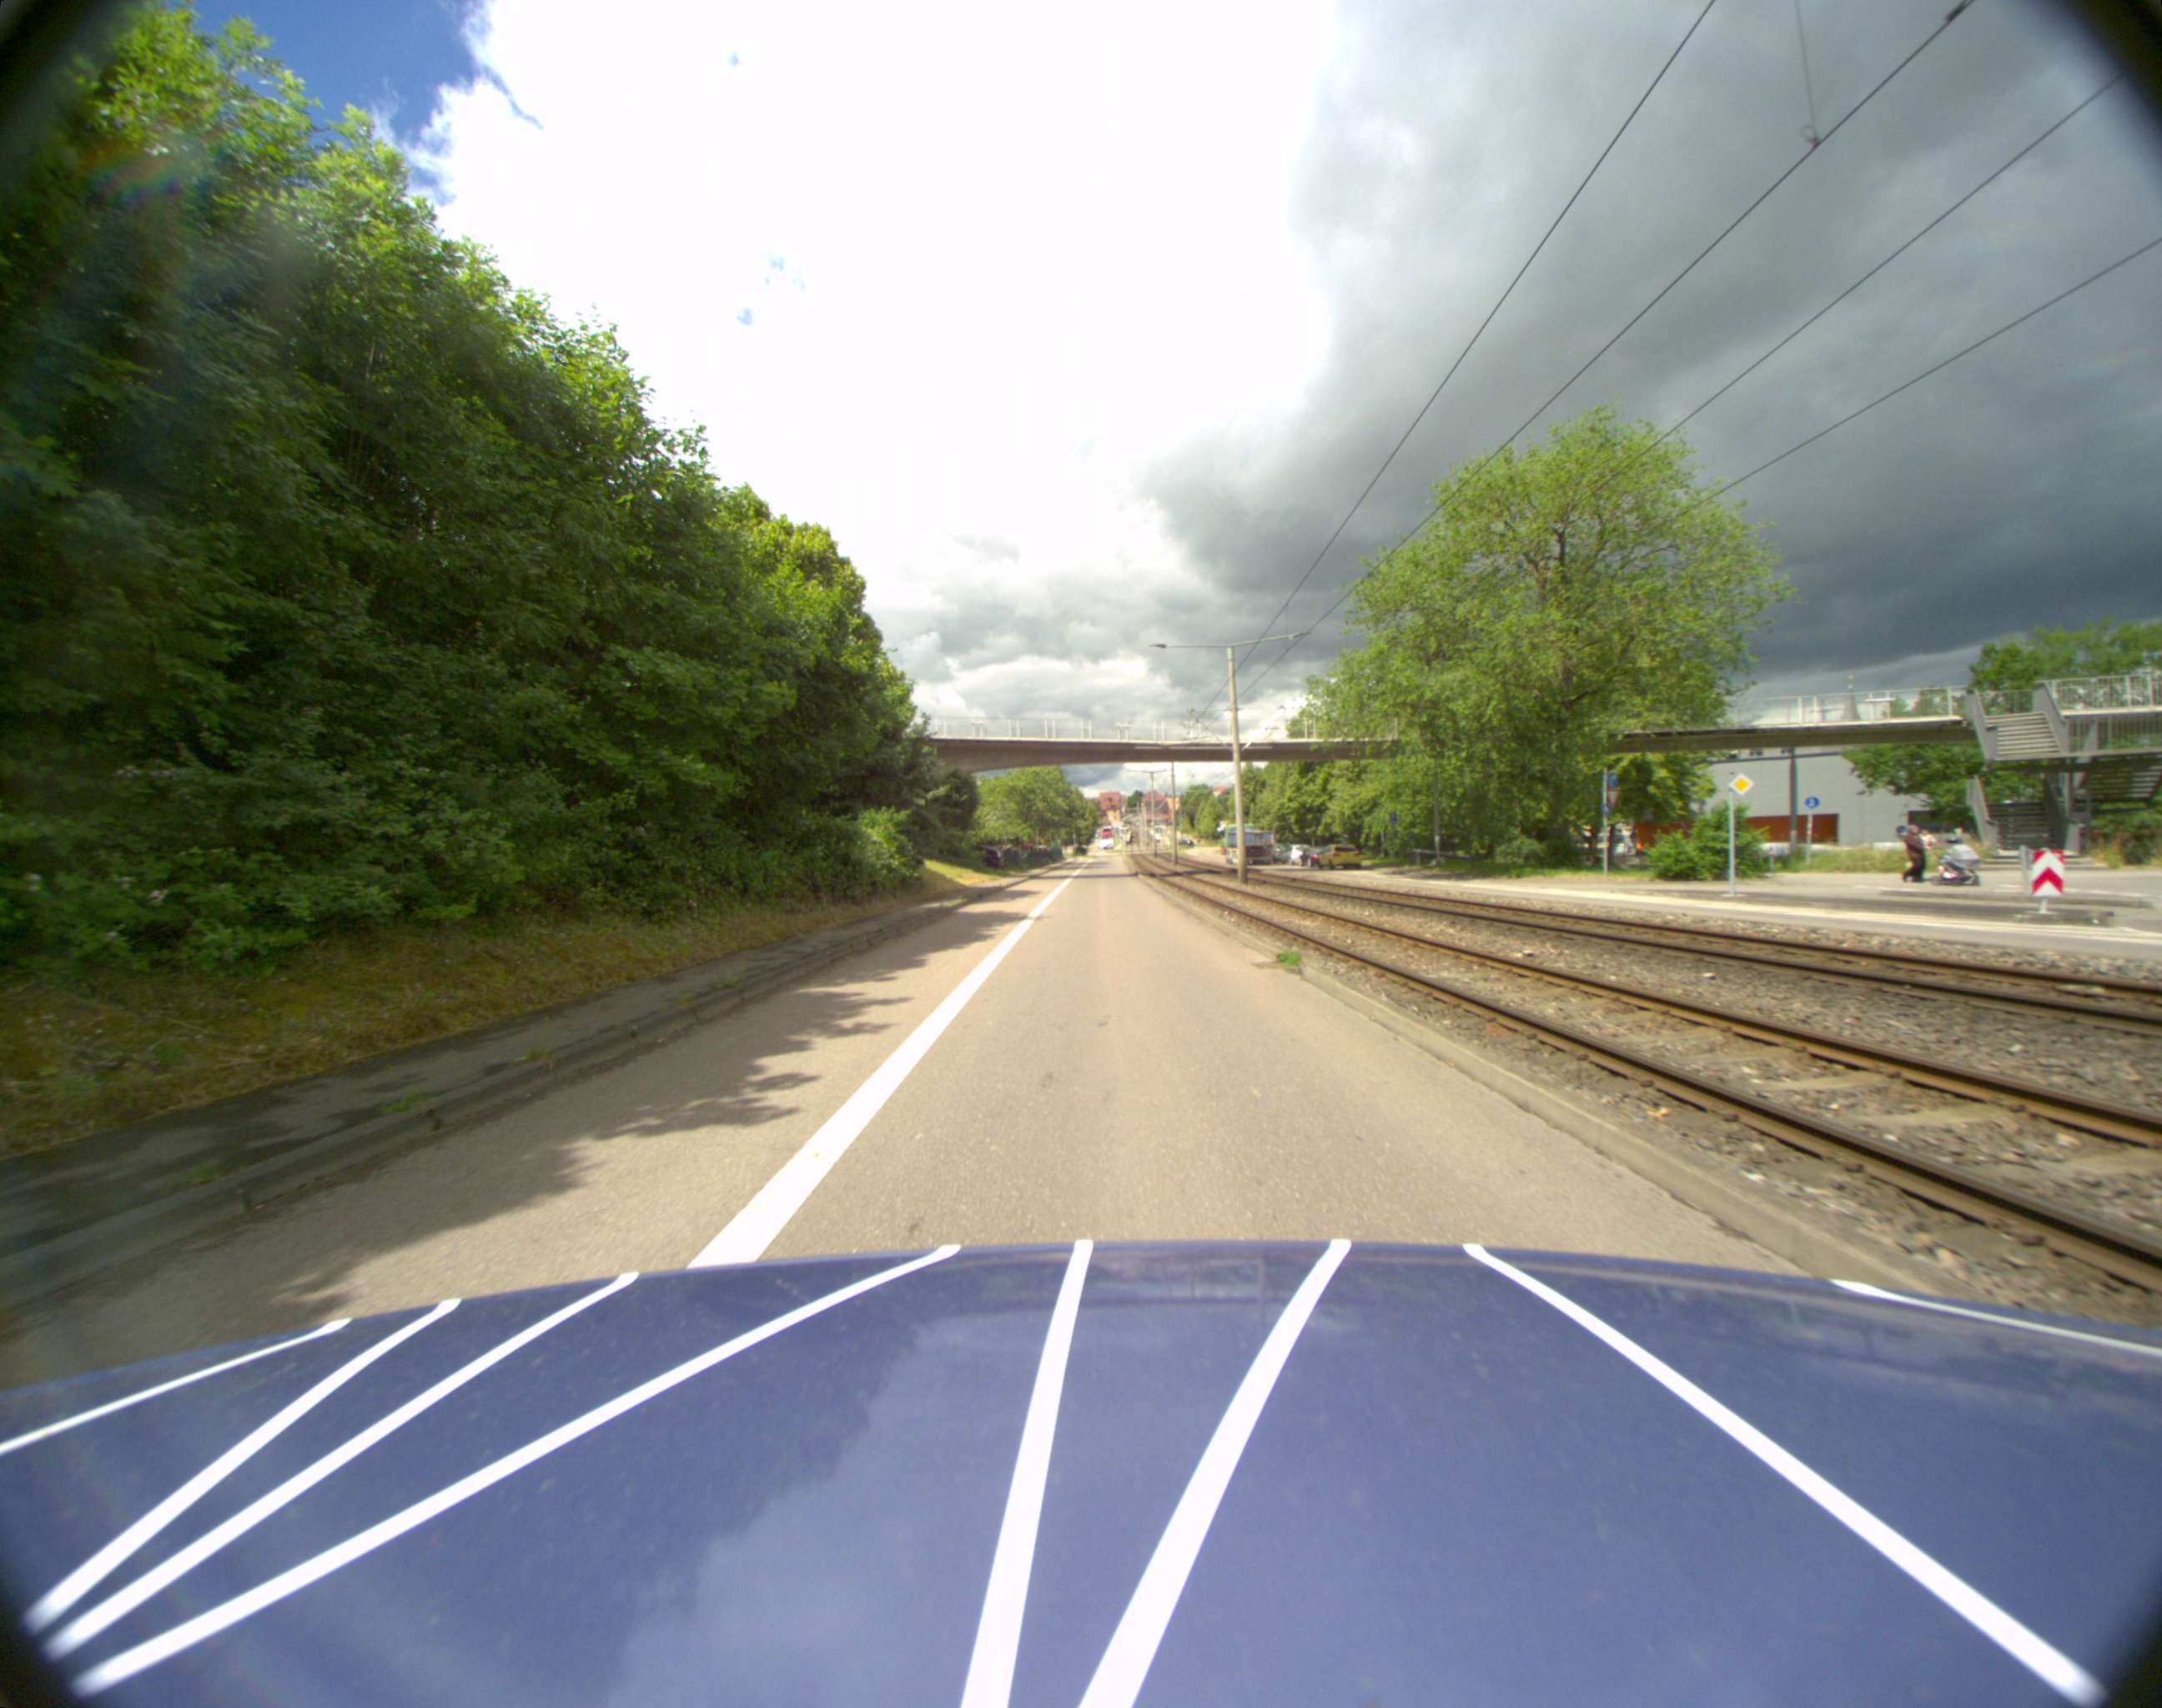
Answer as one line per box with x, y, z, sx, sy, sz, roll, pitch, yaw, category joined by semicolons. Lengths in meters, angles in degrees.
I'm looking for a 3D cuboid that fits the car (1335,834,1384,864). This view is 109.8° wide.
16.141;-0.309;44.195;1.692;1.443;3.897;-3;3;5;car

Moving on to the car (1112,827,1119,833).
9.077;-6.336;200.041;1.857;1.577;4.324;-1;2;3;car

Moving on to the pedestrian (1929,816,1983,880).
24.676;-0.178;21.440;0.662;1.746;0.717;-3;3;6;pedestrian

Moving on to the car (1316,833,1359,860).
16.484;-0.506;48.966;1.692;1.443;3.897;-3;3;5;car

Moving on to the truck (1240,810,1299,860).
14.201;-1.548;57.981;2.877;3.302;9.030;-4;3;6;truck

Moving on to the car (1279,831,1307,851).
18.202;-1.135;65.430;1.560;1.587;4.160;0;2;5;car

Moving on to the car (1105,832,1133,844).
7.387;-3.119;146.869;5.220;2.008;1.884;-1;4;37;car

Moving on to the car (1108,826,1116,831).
9.406;-7.785;231.411;1.938;1.374;4.662;-3;3;10;car

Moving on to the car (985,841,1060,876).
-3.885;0.265;50.975;4.533;1.663;1.999;7;4;5;car

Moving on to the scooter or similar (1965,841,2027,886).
24.570;0.244;20.425;0.712;1.141;0.787;-3;3;7;scooter or similar
